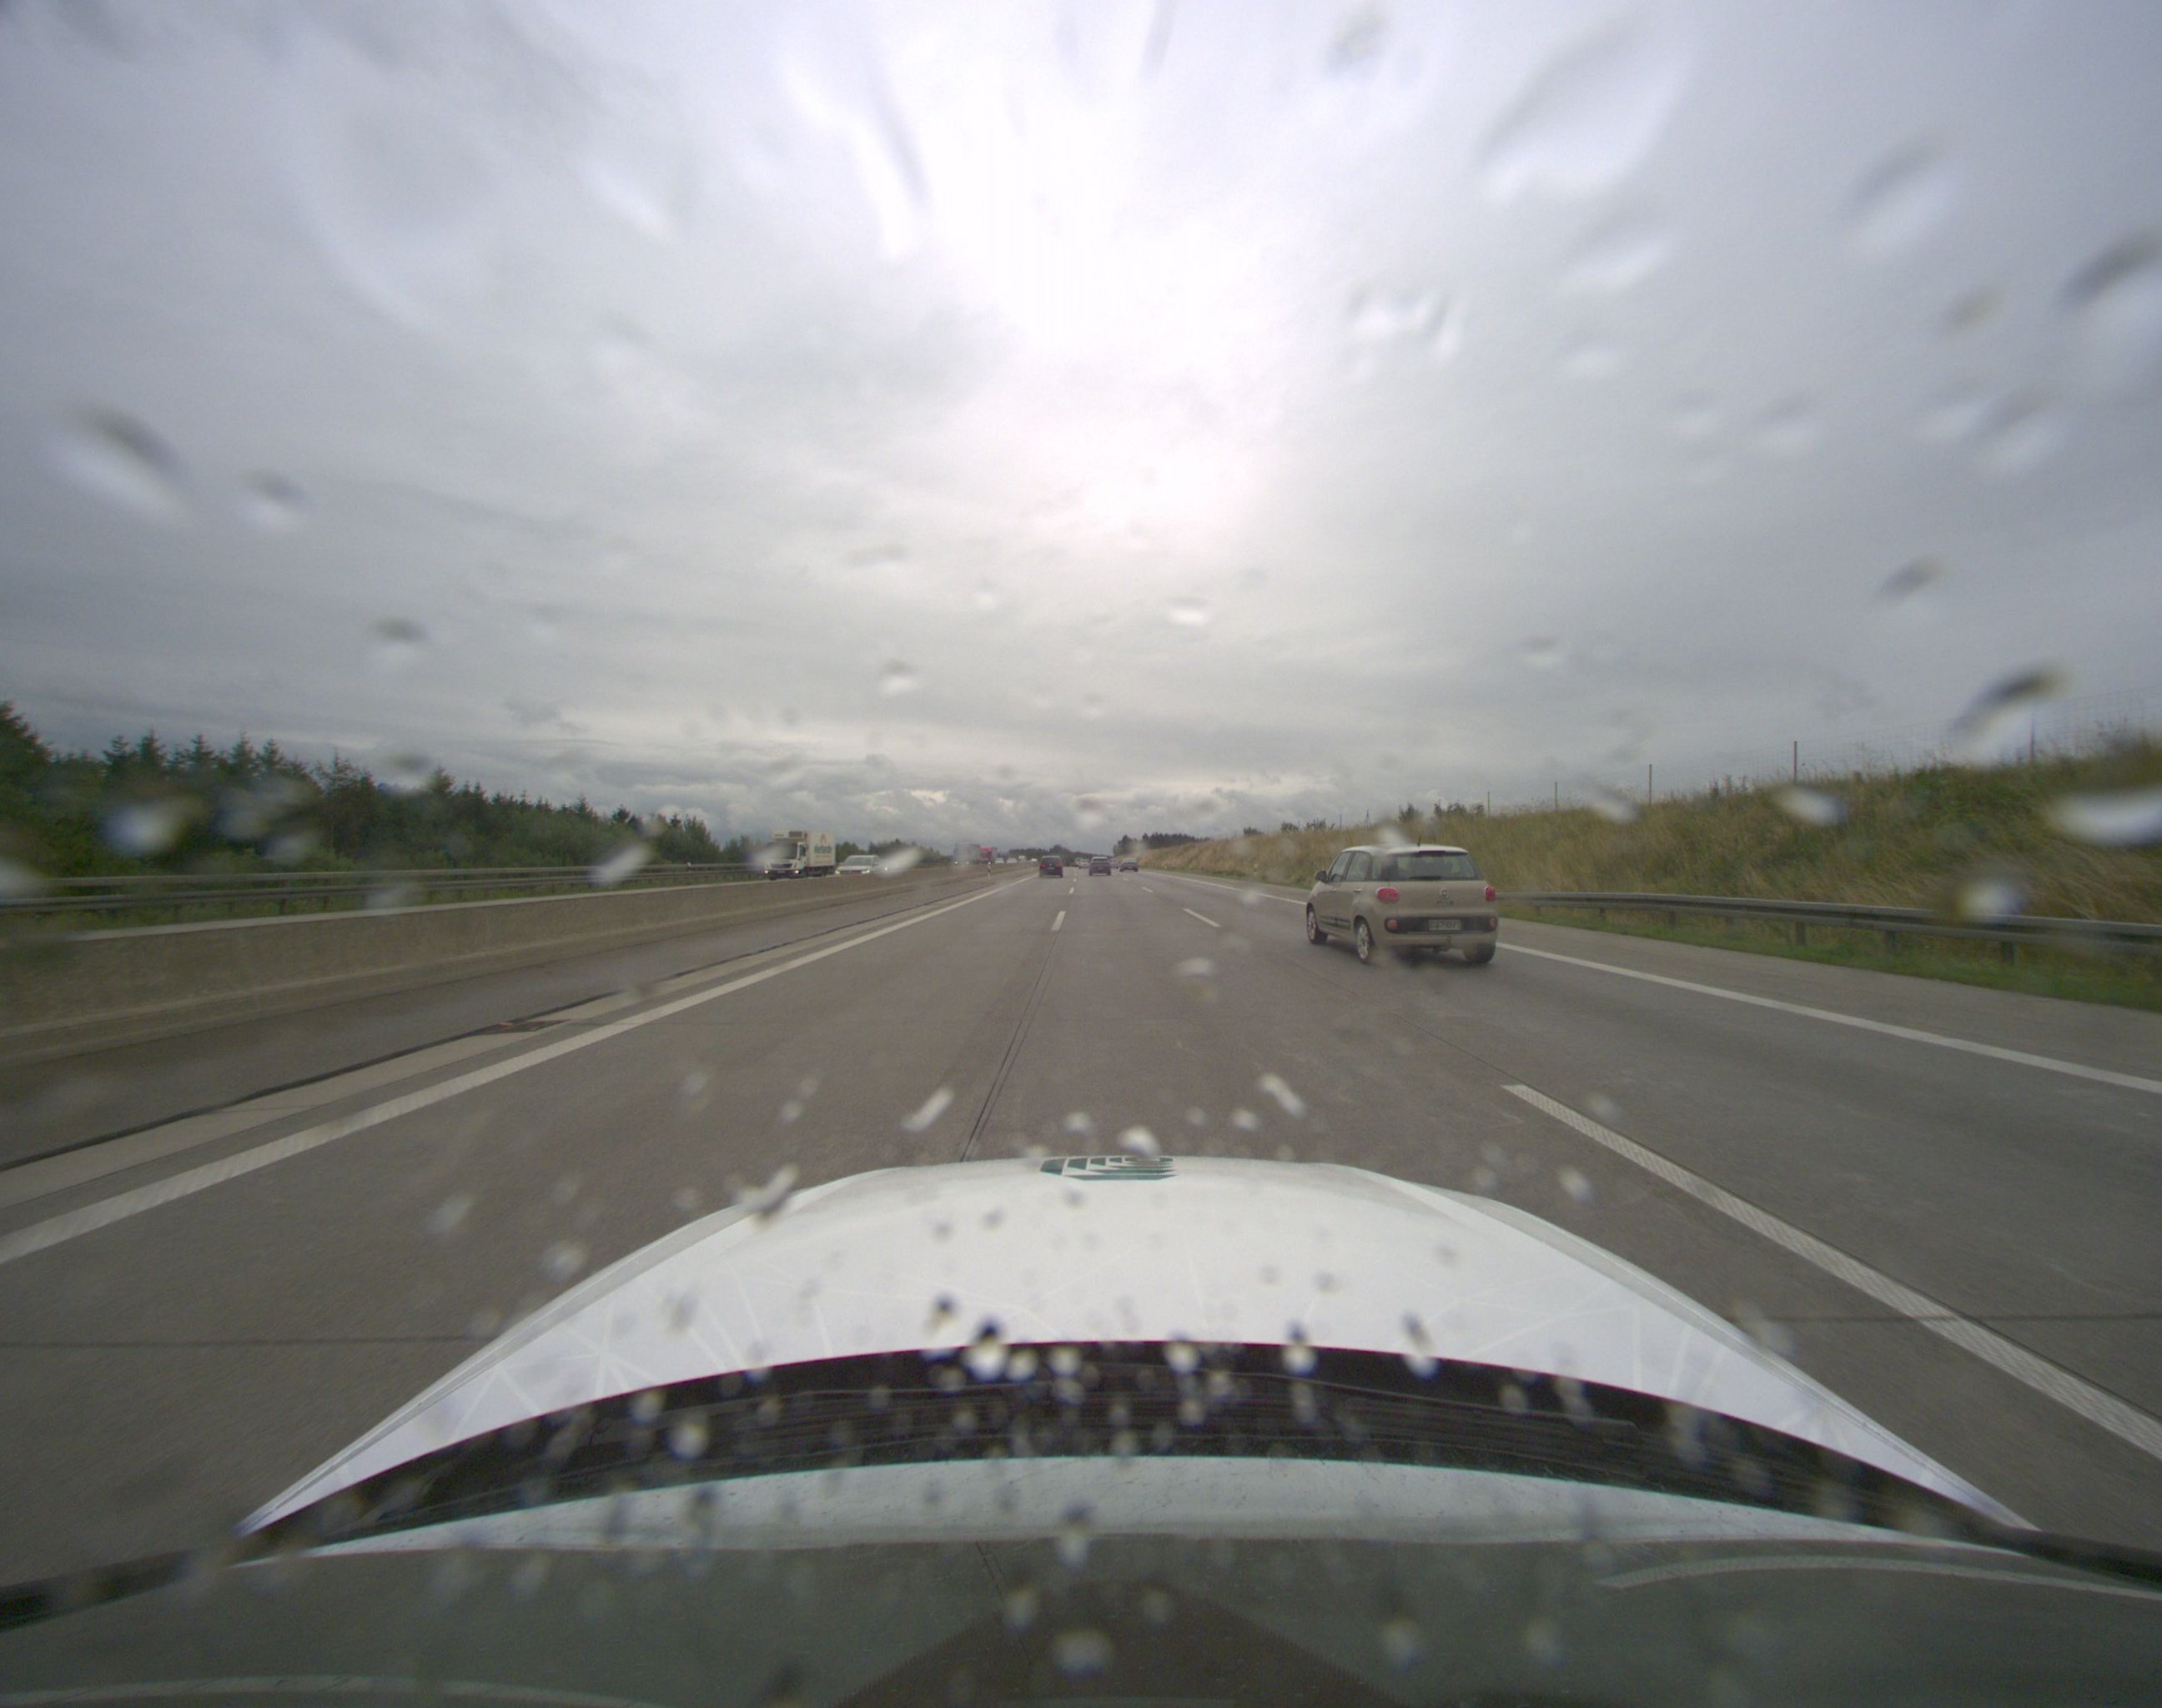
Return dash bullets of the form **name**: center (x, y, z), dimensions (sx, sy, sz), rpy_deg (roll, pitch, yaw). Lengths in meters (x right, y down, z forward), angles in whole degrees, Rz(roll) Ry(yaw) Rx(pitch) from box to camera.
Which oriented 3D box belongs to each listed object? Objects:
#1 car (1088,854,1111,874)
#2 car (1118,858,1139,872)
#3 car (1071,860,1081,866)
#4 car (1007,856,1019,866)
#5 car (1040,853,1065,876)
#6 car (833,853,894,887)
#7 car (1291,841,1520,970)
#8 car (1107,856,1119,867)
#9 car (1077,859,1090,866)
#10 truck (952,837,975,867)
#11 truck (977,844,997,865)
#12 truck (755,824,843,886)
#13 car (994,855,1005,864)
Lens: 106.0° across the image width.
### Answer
- **car**: center (1.596, 0.868, 70.754), dimensions (1.891, 1.690, 5.266), rpy_deg (0, 0, 0)
- **car**: center (5.210, 1.153, 89.684), dimensions (2.007, 1.446, 4.745), rpy_deg (0, 0, 1)
- **car**: center (-1.068, 1.928, 176.337), dimensions (1.790, 1.221, 4.002), rpy_deg (0, 0, 2)
- **car**: center (-11.549, 1.195, 138.673), dimensions (1.693, 1.614, 4.720), rpy_deg (0, 0, 1)
- **car**: center (-2.243, 0.838, 64.462), dimensions (1.779, 1.747, 3.915), rpy_deg (0, 0, 1)
- **car**: center (-10.808, 0.758, 40.812), dimensions (1.736, 1.566, 4.500), rpy_deg (0, 0, 1)
- **car**: center (4.694, 0.656, 12.581), dimensions (1.779, 1.605, 4.571), rpy_deg (0, 0, 1)
- **car**: center (4.811, 1.130, 121.486), dimensions (1.481, 1.471, 3.502), rpy_deg (2, 0, -1)
- **car**: center (0.431, 1.303, 126.352), dimensions (1.790, 1.123, 4.002), rpy_deg (0, 0, 2)
- **truck**: center (-18.978, -0.313, 131.455), dimensions (2.919, 4.676, 5.230), rpy_deg (0, 0, -1)
- **truck**: center (-19.629, 0.067, 170.604), dimensions (3.459, 4.182, 6.492), rpy_deg (0, 0, 0)
- **truck**: center (-19.134, 0.062, 56.015), dimensions (2.889, 3.864, 8.899), rpy_deg (0, 0, 0)
- **car**: center (-15.576, 1.042, 155.808), dimensions (1.609, 1.651, 4.294), rpy_deg (0, 0, 0)
